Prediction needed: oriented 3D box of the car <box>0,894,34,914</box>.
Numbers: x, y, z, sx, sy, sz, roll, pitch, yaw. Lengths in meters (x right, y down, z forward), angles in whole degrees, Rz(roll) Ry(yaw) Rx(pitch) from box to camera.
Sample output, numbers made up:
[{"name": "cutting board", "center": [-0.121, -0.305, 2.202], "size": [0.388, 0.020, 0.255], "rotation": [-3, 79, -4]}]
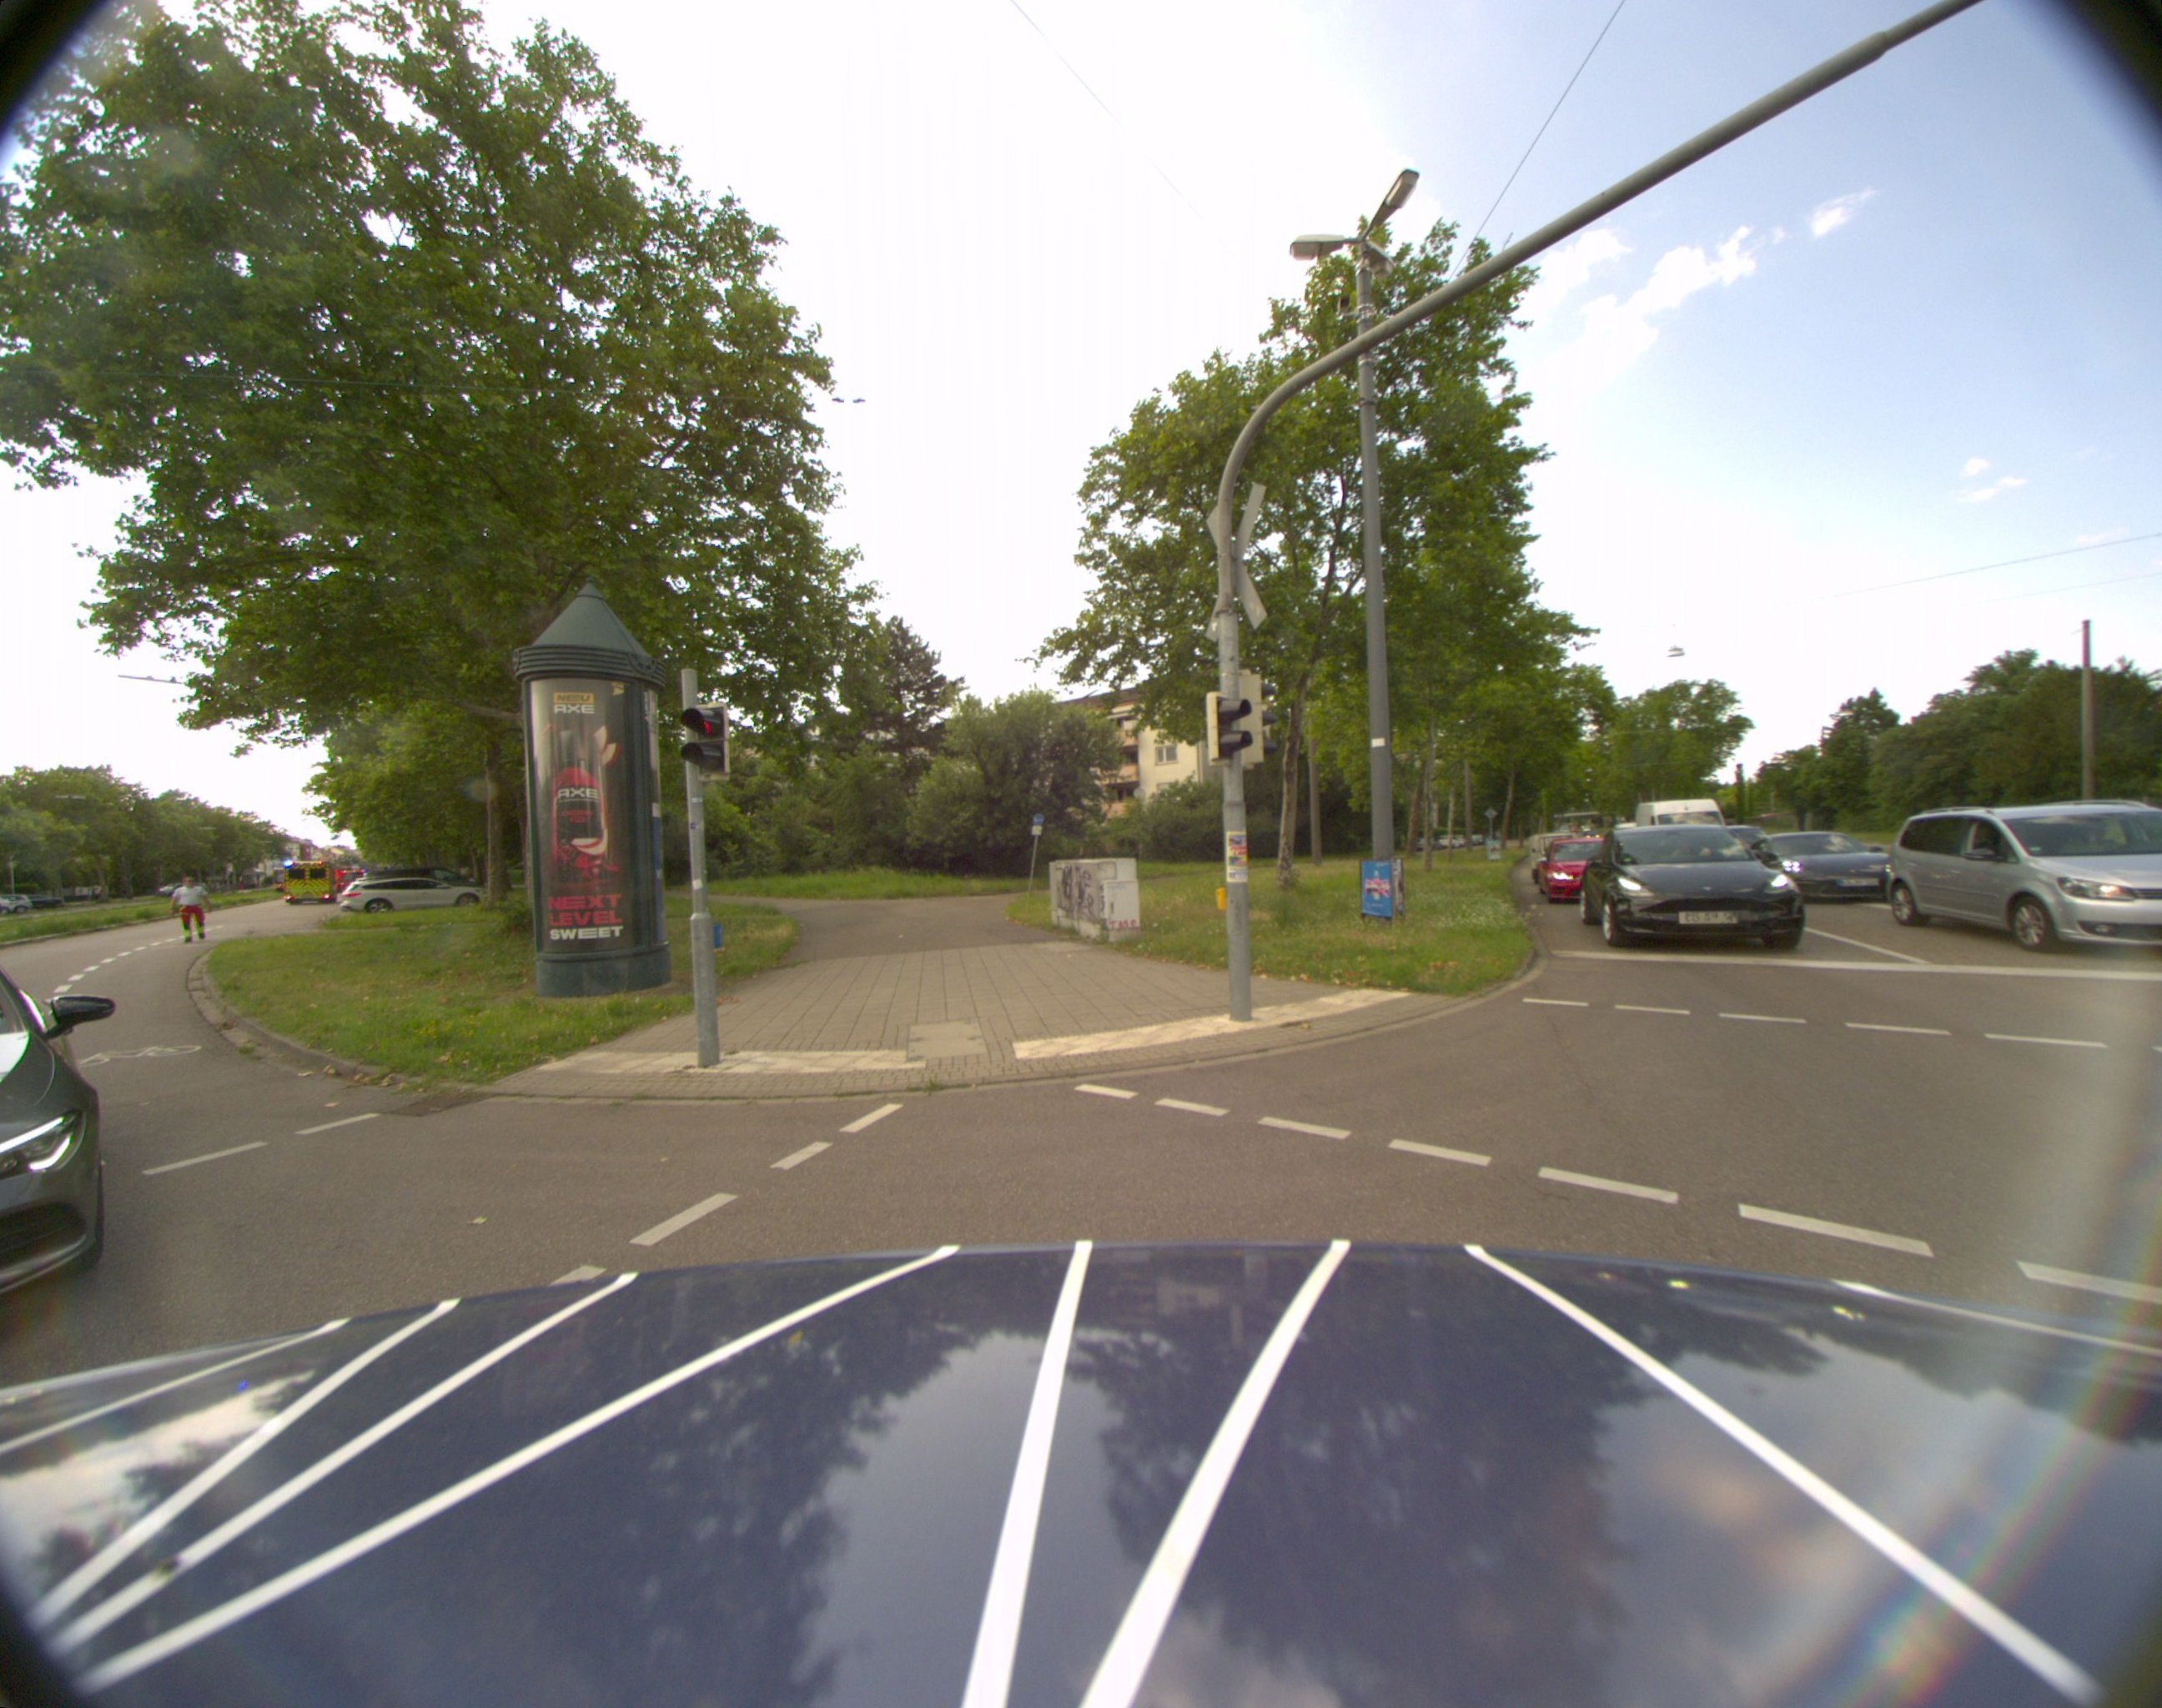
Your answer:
[{"name": "car", "center": [-82.767, 3.891, 57.192], "size": [1.897, 1.356, 4.322], "rotation": [-2, 1, 27]}]

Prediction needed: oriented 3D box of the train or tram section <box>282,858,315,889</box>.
[{"name": "train or tram section", "center": [-95.384, 2.333, 92.572], "size": [7.401, 3.576, 2.500], "rotation": [-1, 2, 43]}]

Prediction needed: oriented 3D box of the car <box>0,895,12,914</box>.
[{"name": "car", "center": [-80.760, 3.803, 54.547], "size": [1.897, 1.356, 4.322], "rotation": [-2, 1, 27]}]

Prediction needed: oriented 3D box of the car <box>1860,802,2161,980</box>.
[{"name": "car", "center": [11.645, 0.283, 9.026], "size": [1.926, 1.642, 4.509], "rotation": [-4, 0, 27]}]

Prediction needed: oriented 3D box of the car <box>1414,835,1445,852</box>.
[{"name": "car", "center": [35.553, -1.048, 77.587], "size": [1.772, 1.586, 3.664], "rotation": [-2, -1, 43]}]

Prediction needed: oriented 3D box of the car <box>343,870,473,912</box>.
[{"name": "car", "center": [-32.448, 1.761, 36.754], "size": [4.551, 1.634, 1.995], "rotation": [-3, 0, -43]}]

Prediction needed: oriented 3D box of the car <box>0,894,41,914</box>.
[{"name": "car", "center": [-84.640, 3.965, 58.983], "size": [1.897, 1.356, 4.322], "rotation": [-2, 1, 27]}]

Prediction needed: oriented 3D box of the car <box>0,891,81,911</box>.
[{"name": "car", "center": [-90.109, 4.053, 65.519], "size": [1.897, 1.356, 4.322], "rotation": [-2, 1, 27]}]

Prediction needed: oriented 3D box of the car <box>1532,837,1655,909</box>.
[{"name": "car", "center": [11.910, 0.375, 17.949], "size": [1.798, 1.383, 4.509], "rotation": [-4, 0, 27]}]

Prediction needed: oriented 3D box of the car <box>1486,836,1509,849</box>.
[{"name": "car", "center": [56.240, -1.541, 102.563], "size": [1.772, 1.586, 3.664], "rotation": [-2, -1, 43]}]

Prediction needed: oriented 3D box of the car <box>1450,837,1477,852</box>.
[{"name": "car", "center": [44.278, -1.089, 87.854], "size": [1.772, 1.586, 3.664], "rotation": [-2, -1, 43]}]

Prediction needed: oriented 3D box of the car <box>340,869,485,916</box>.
[{"name": "car", "center": [-28.916, 1.635, 32.981], "size": [4.551, 1.634, 1.995], "rotation": [-3, 0, -43]}]

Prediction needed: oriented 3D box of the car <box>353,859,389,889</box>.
[{"name": "car", "center": [-83.250, 2.382, 89.166], "size": [2.981, 3.310, 7.439], "rotation": [-1, -1, -43]}]

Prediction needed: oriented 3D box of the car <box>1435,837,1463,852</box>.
[{"name": "car", "center": [41.089, -1.072, 84.782], "size": [1.772, 1.586, 3.664], "rotation": [-2, -1, 43]}]

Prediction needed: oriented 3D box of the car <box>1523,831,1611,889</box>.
[{"name": "car", "center": [15.059, 0.120, 23.757], "size": [1.798, 1.560, 4.509], "rotation": [-4, 0, 27]}]

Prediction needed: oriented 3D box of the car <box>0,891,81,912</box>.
[{"name": "car", "center": [-86.368, 3.918, 62.710], "size": [1.897, 1.356, 4.322], "rotation": [-2, 1, 27]}]

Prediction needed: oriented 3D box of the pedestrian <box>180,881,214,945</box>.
[{"name": "pedestrian", "center": [-23.863, 1.578, 20.507], "size": [0.495, 1.674, 0.585], "rotation": [-3, 1, -45]}]

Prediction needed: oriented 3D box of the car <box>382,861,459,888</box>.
[{"name": "car", "center": [-88.852, 2.730, 102.312], "size": [2.967, 3.310, 7.475], "rotation": [-2, -1, 44]}]

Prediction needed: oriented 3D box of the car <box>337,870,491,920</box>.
[{"name": "car", "center": [-27.170, 1.626, 31.083], "size": [4.551, 1.634, 1.995], "rotation": [-3, 0, -43]}]

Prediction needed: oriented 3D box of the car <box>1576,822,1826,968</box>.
[{"name": "car", "center": [8.564, 0.441, 10.993], "size": [1.927, 1.642, 4.587], "rotation": [-4, 0, 29]}]

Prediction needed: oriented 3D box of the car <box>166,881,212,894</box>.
[{"name": "car", "center": [-132.672, 5.000, 113.081], "size": [1.818, 1.827, 4.006], "rotation": [-2, -1, 17]}]

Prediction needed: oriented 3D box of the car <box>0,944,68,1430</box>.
[{"name": "car", "center": [-5.774, 1.223, 3.037], "size": [4.594, 1.385, 1.844], "rotation": [-3, 0, 34]}]

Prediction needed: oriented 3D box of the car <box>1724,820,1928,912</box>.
[{"name": "car", "center": [14.469, 0.172, 15.051], "size": [1.800, 1.499, 4.006], "rotation": [-4, 0, 29]}]

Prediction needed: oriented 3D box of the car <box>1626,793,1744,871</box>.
[{"name": "car", "center": [22.484, -0.826, 28.587], "size": [2.222, 2.515, 5.942], "rotation": [-4, 0, 27]}]

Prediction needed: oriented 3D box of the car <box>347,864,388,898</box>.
[{"name": "car", "center": [-74.750, 2.805, 79.632], "size": [2.981, 3.297, 7.439], "rotation": [-1, -1, -43]}]

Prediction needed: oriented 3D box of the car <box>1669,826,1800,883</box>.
[{"name": "car", "center": [18.232, -0.046, 21.430], "size": [1.761, 1.367, 4.350], "rotation": [-4, 0, 27]}]

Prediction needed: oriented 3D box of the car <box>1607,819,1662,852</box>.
[{"name": "car", "center": [30.724, -1.040, 42.297], "size": [1.760, 1.637, 4.350], "rotation": [-2, 1, 27]}]

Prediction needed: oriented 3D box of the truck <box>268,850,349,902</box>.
[{"name": "truck", "center": [-54.466, 1.531, 53.753], "size": [3.199, 3.298, 7.502], "rotation": [-3, 1, -40]}]

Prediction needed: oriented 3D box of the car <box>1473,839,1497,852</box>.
[{"name": "car", "center": [51.269, -1.116, 96.413], "size": [1.772, 1.586, 3.664], "rotation": [-2, -1, 43]}]

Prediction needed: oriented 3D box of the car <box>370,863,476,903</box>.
[{"name": "car", "center": [-38.461, 1.658, 44.542], "size": [4.565, 2.002, 1.995], "rotation": [-3, 1, -41]}]
